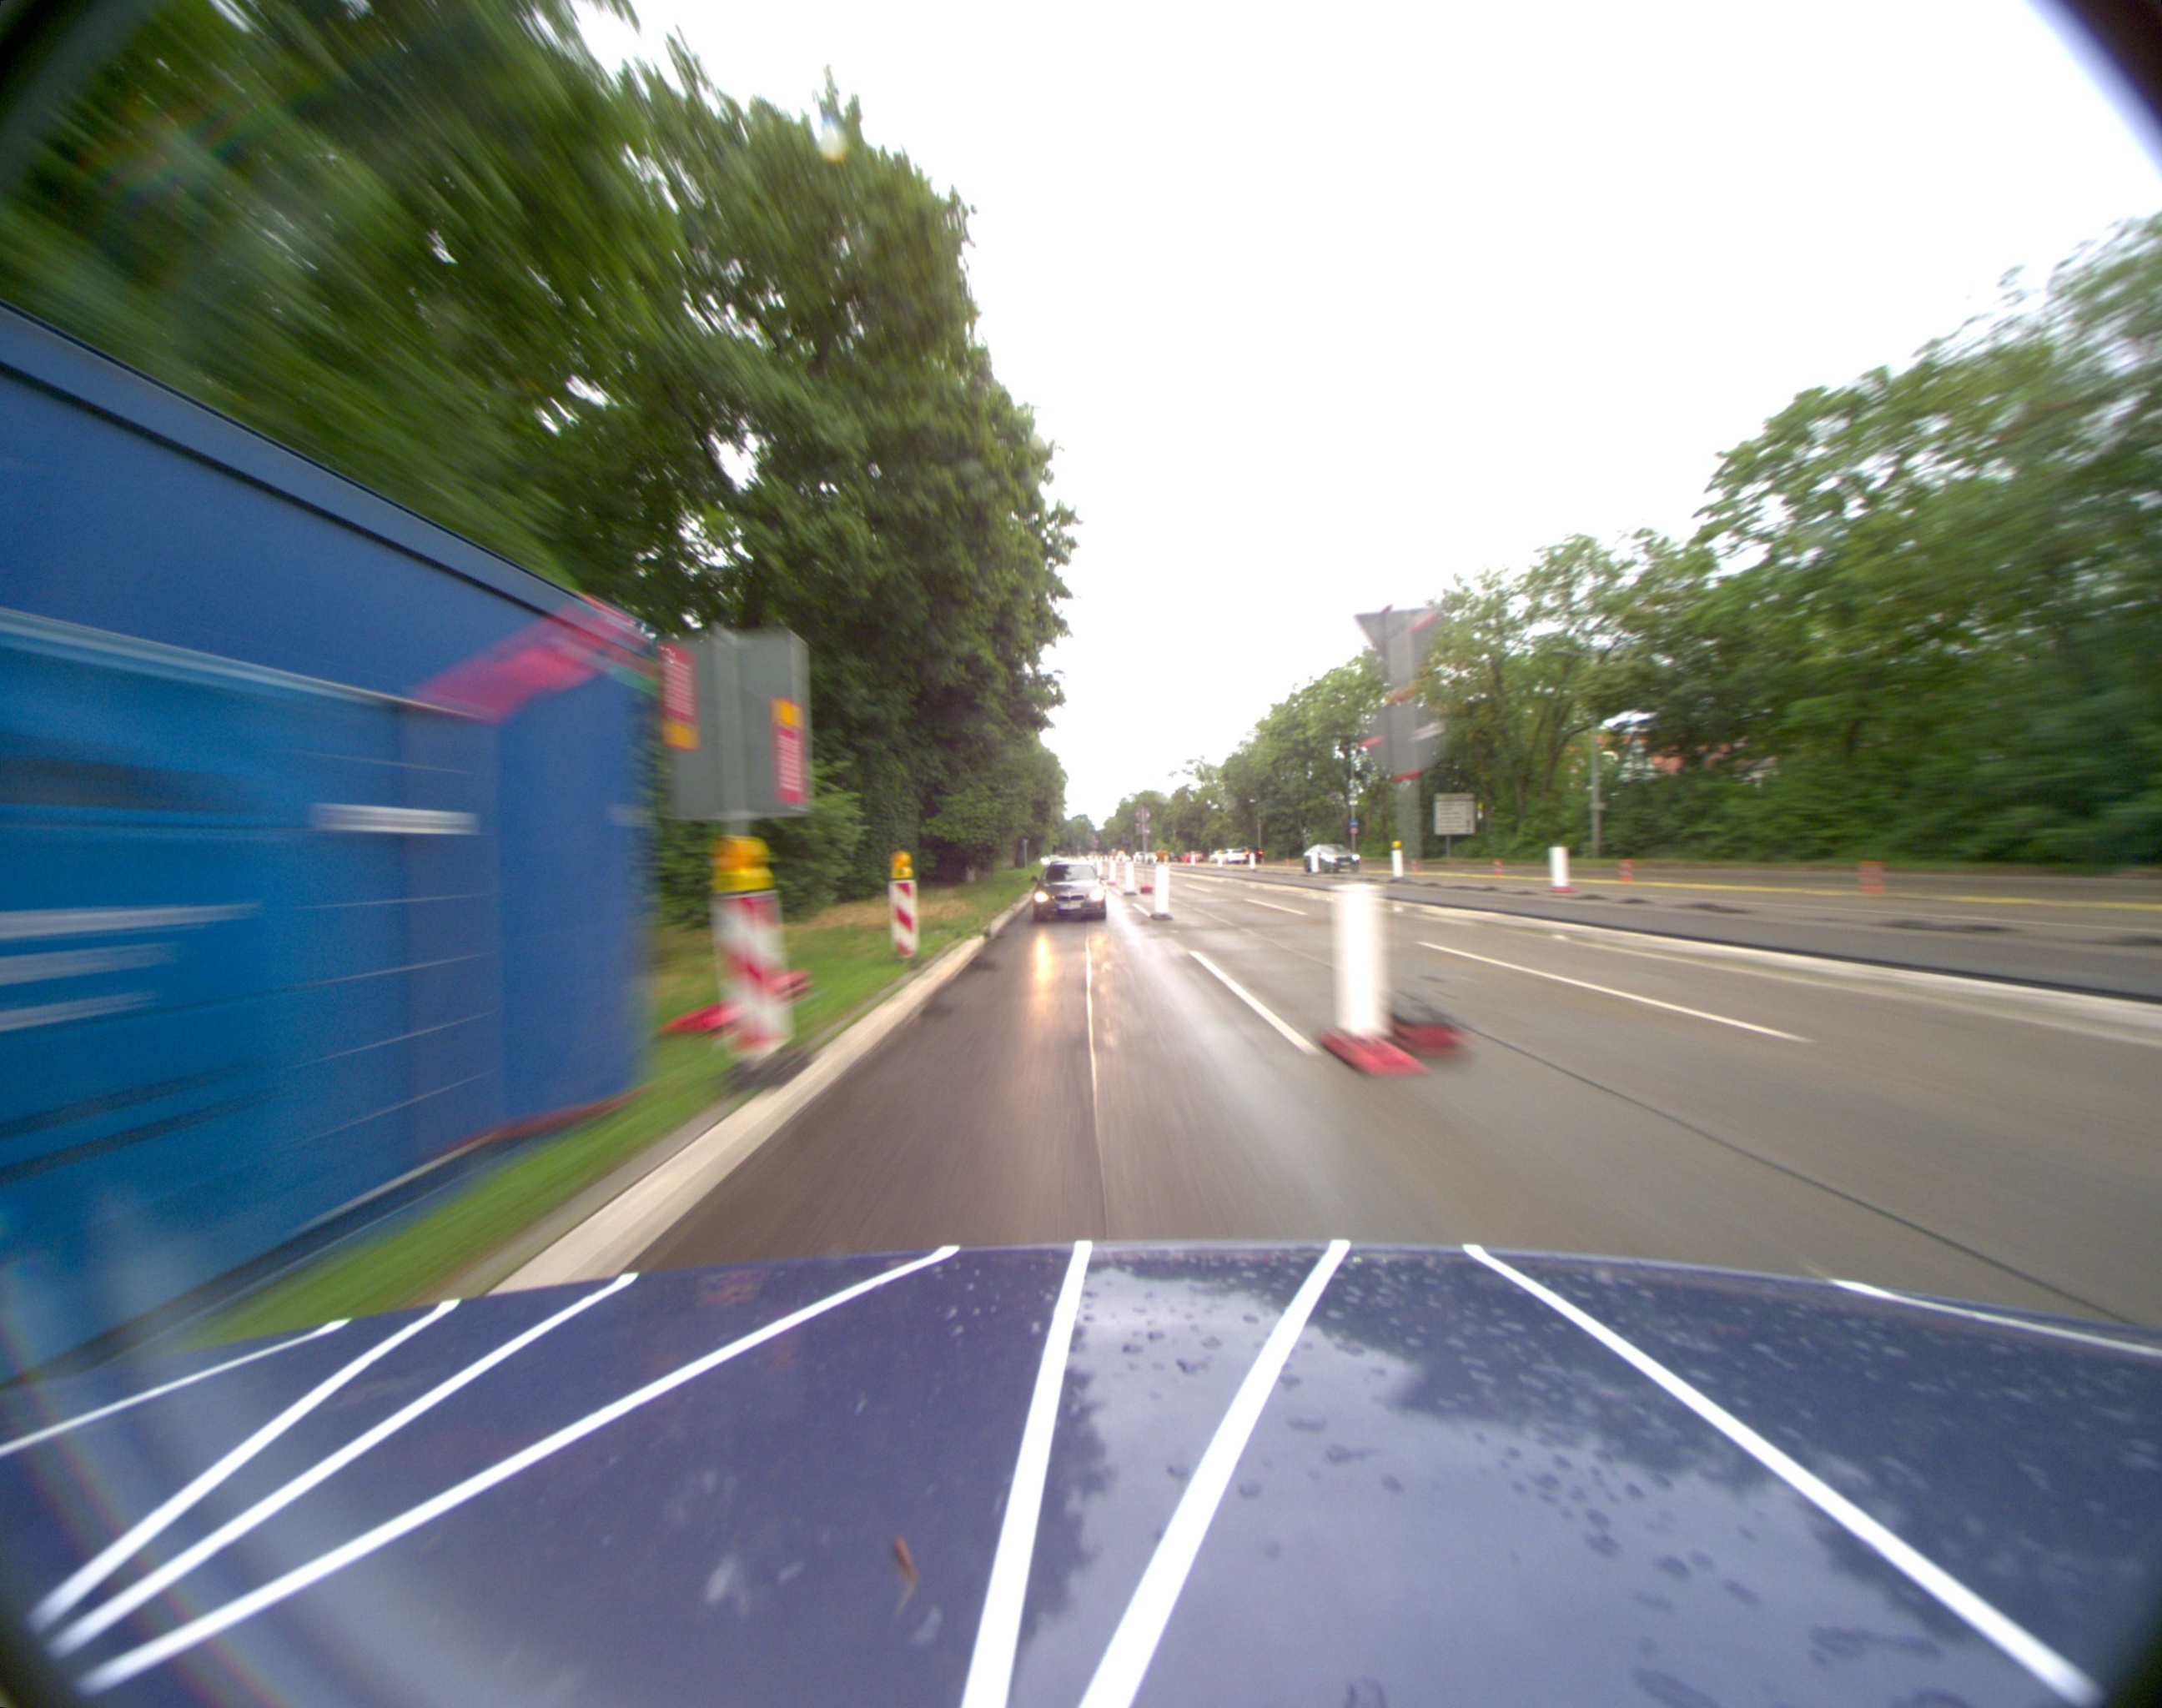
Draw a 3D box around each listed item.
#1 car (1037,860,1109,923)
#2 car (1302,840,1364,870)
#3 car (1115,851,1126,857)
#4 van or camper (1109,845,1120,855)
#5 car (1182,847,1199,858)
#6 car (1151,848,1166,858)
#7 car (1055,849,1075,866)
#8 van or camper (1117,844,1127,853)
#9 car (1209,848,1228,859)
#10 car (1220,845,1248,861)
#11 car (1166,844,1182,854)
[{"bbox_3d":[-0.304,0.886,19.906,1.658,1.409,4.127,-1,0,-3],"label":"car"},{"bbox_3d":[14.728,0.029,44.641,1.998,1.619,4.811,-2,1,0],"label":"car"},{"bbox_3d":[9.348,0.024,178.998,1.999,1.407,4.391,-1,1,-4],"label":"car"},{"bbox_3d":[10.924,-1.386,249.783,2.305,3.045,7.445,-2,1,-9],"label":"van or camper"},{"bbox_3d":[15.305,-0.199,106.740,1.683,1.392,4.011,-2,0,-2],"label":"car"},{"bbox_3d":[14.038,-0.118,138.504,2.027,1.715,5.011,-2,0,-2],"label":"car"},{"bbox_3d":[-1.688,0.369,80.116,1.999,1.707,3.999,-1,1,-1],"label":"car"},{"bbox_3d":[11.930,-1.513,219.490,1.999,2.540,7.727,-3,0,-3],"label":"van or camper"},{"bbox_3d":[18.449,-0.114,101.799,1.683,1.487,4.148,0,0,-2],"label":"car"},{"bbox_3d":[16.697,-0.128,82.996,1.895,1.651,4.892,-2,0,-2],"label":"car"},{"bbox_3d":[14.691,-0.808,120.215,1.781,1.479,4.195,-2,0,-2],"label":"car"}]
